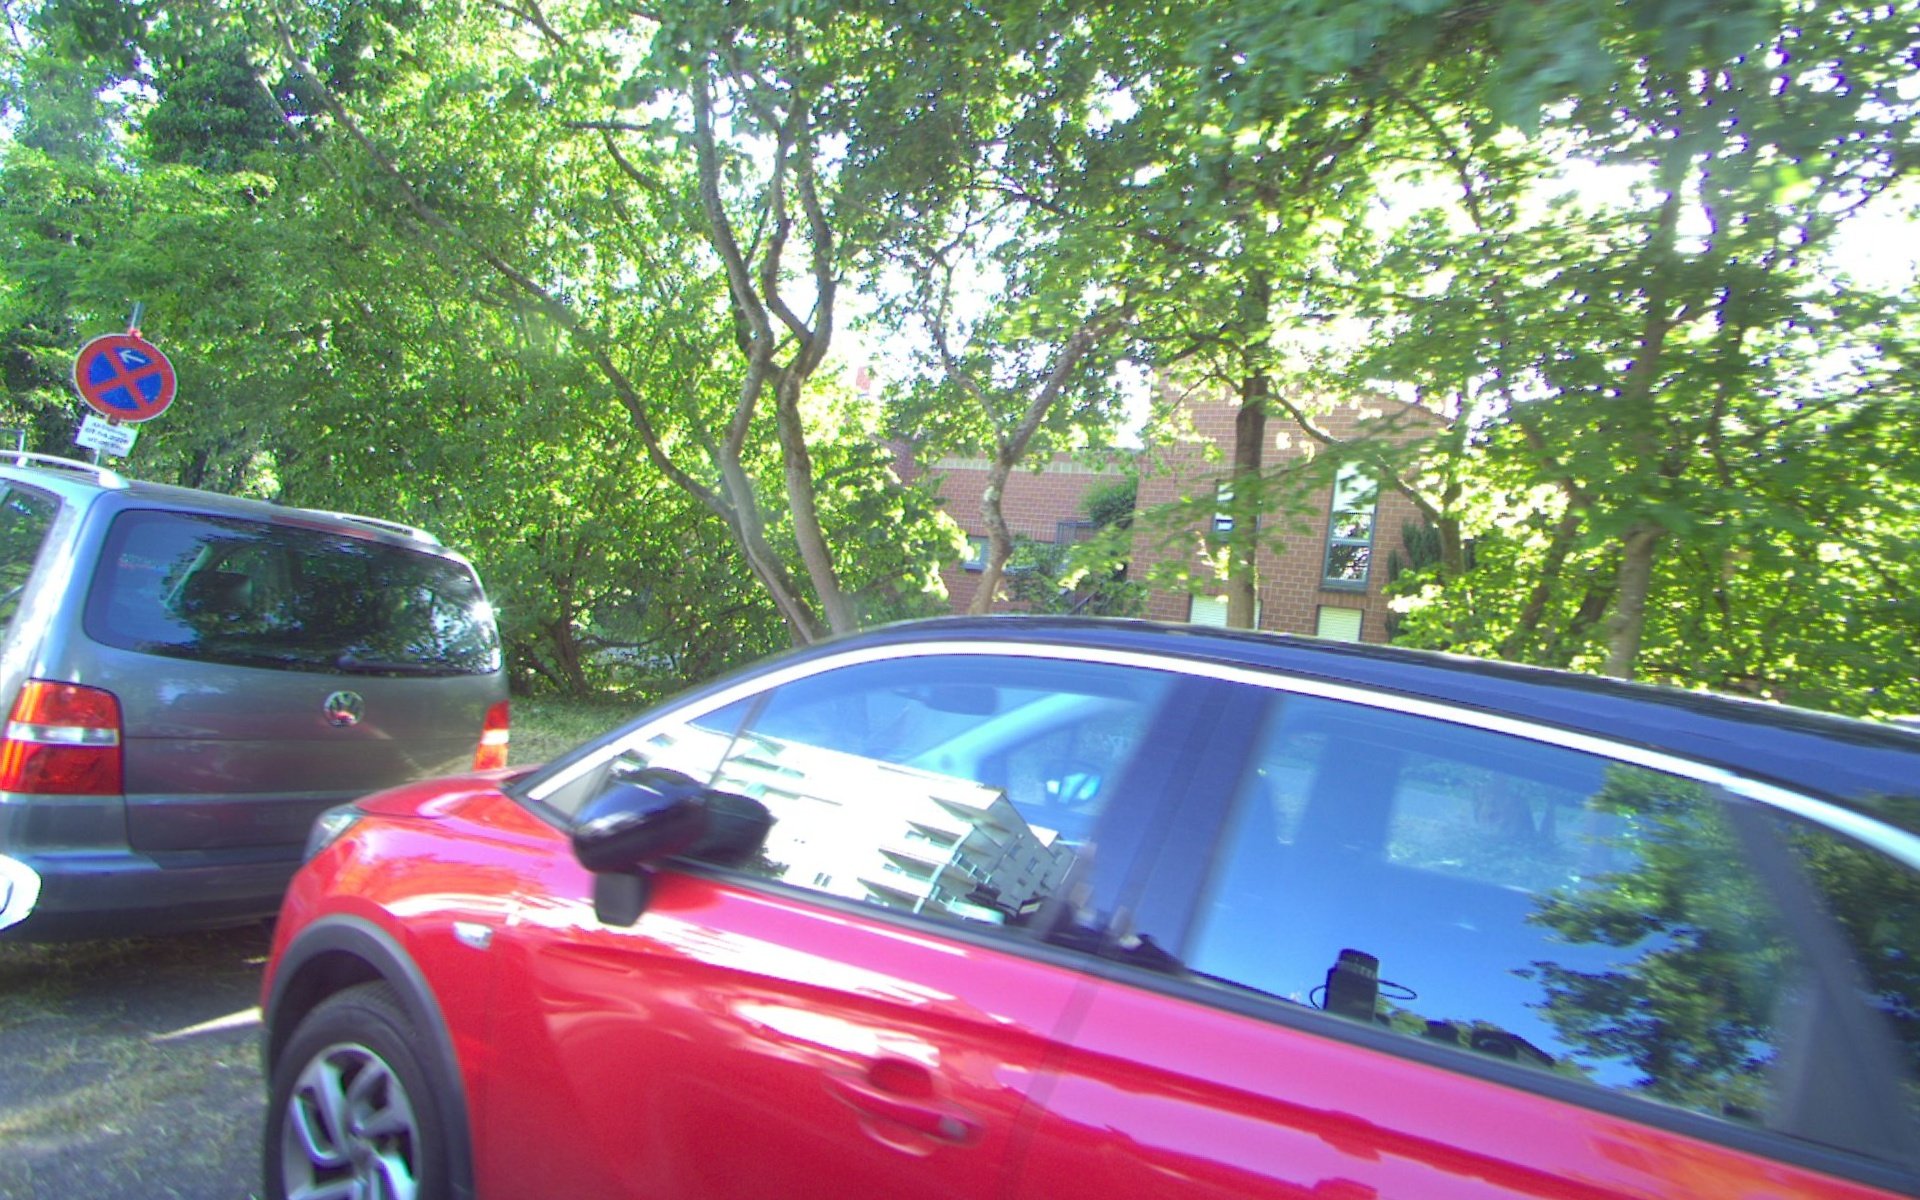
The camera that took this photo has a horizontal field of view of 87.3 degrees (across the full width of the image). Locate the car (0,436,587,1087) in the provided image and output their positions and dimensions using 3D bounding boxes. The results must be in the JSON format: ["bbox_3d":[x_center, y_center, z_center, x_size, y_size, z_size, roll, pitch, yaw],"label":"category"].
[{"bbox_3d":[-3.726,0.293,4.222,4.067,1.640,1.683,7,-2,30],"label":"car"}]

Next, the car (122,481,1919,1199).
[{"bbox_3d":[0.211,0.803,2.081,3.999,1.591,1.683,7,-2,32],"label":"car"}]
